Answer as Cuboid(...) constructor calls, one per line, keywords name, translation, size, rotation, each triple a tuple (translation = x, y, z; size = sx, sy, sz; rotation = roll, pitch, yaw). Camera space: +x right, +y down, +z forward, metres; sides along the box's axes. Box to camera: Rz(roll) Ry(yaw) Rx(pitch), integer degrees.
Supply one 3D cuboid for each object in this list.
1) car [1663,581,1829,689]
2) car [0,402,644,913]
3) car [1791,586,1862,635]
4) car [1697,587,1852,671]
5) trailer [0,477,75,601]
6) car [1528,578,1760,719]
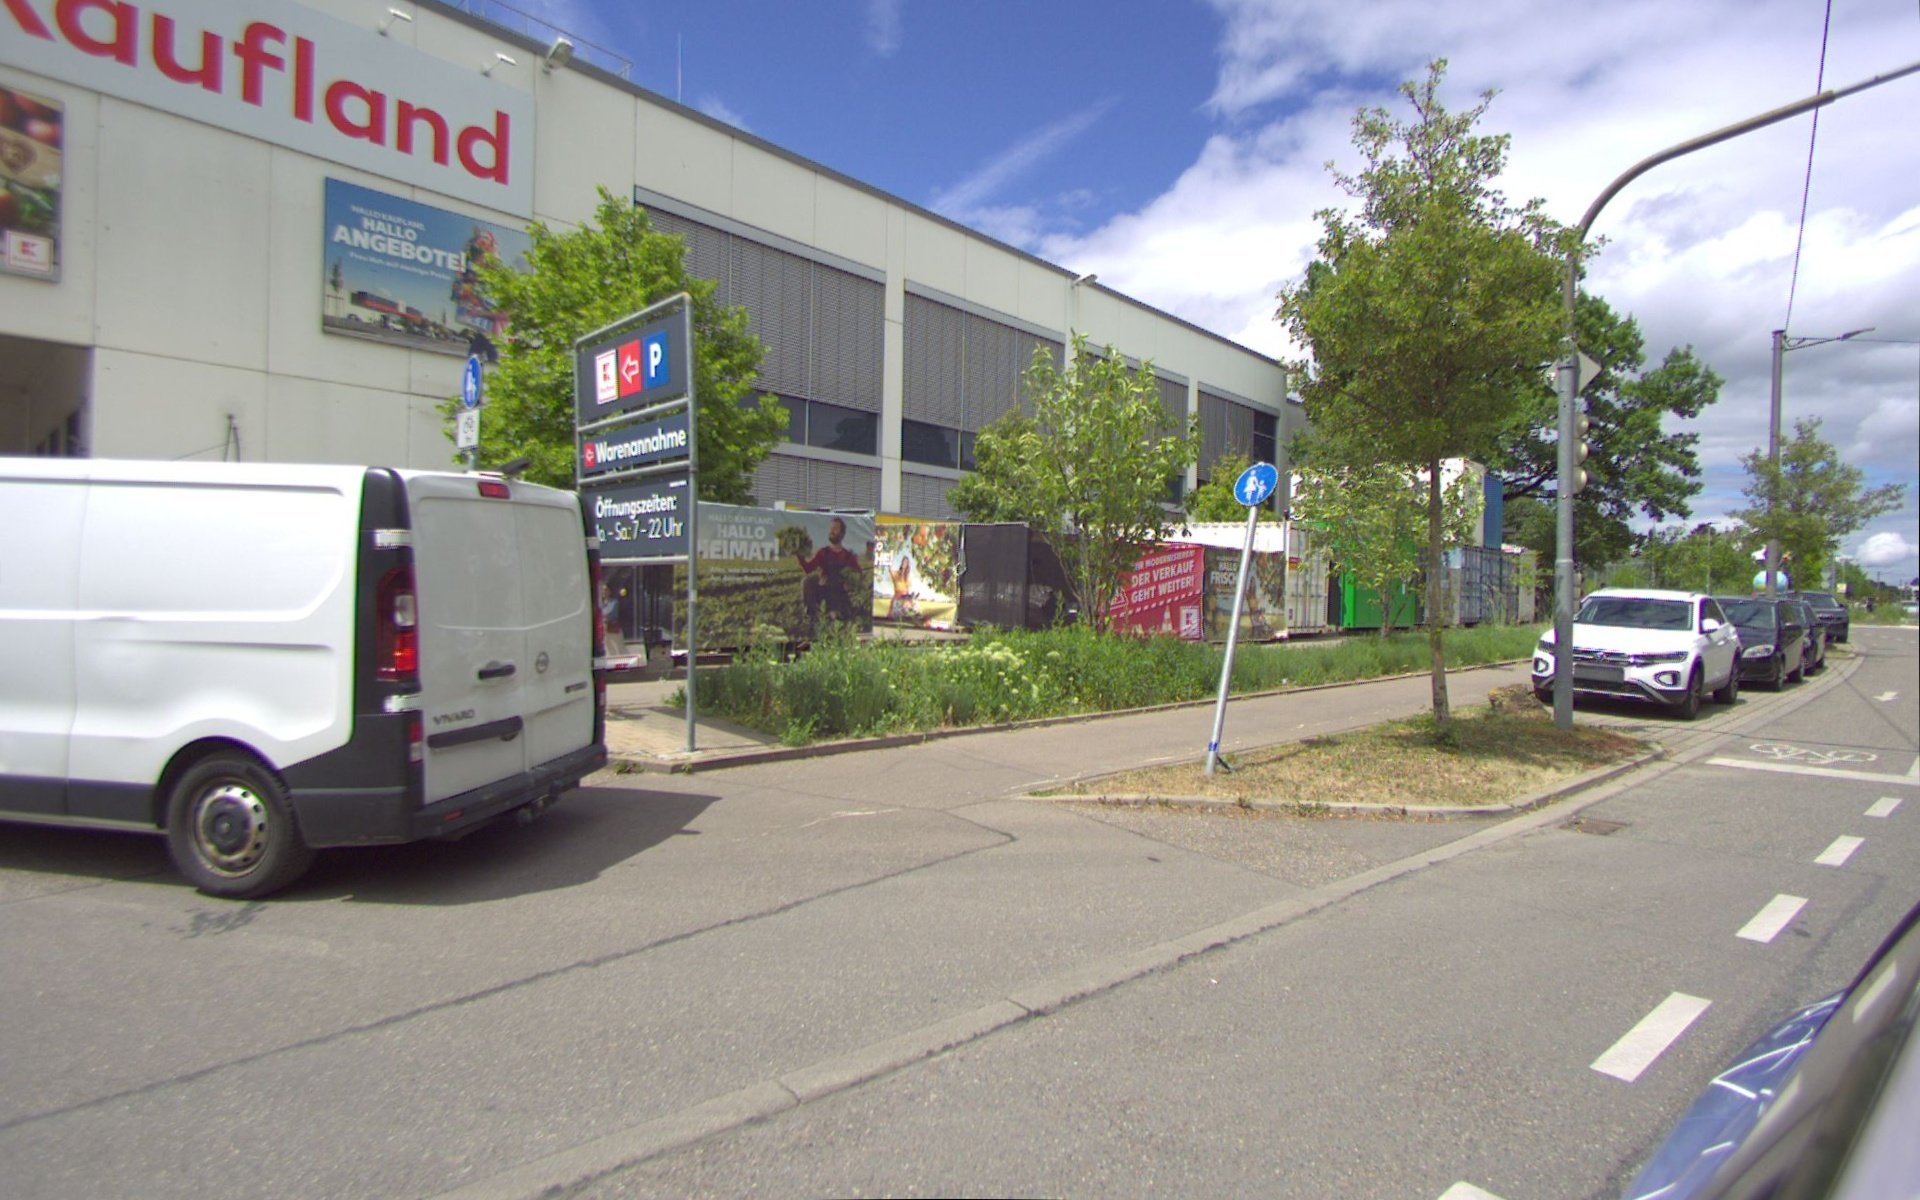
Cuboid(name="car", translation=(13.492, 0.500, 17.304), size=(3.727, 1.580, 1.601), rotation=(-1, 4, -43))
Cuboid(name="car", translation=(-4.683, 0.069, 5.564), size=(5.264, 2.047, 1.996), rotation=(3, 3, 9))
Cuboid(name="car", translation=(28.912, 0.312, 33.826), size=(1.698, 1.551, 3.942), rotation=(-1, 0, 40))
Cuboid(name="car", translation=(16.652, 0.517, 20.632), size=(3.747, 1.547, 1.995), rotation=(-1, 0, -44))
Cuboid(name="trailer", translation=(-32.986, -1.914, 30.749), size=(2.591, 3.911, 8.936), rotation=(-1, 0, 40))
Cuboid(name="car", translation=(9.319, 0.529, 13.678), size=(3.856, 1.549, 1.792), rotation=(-1, 4, -44))
